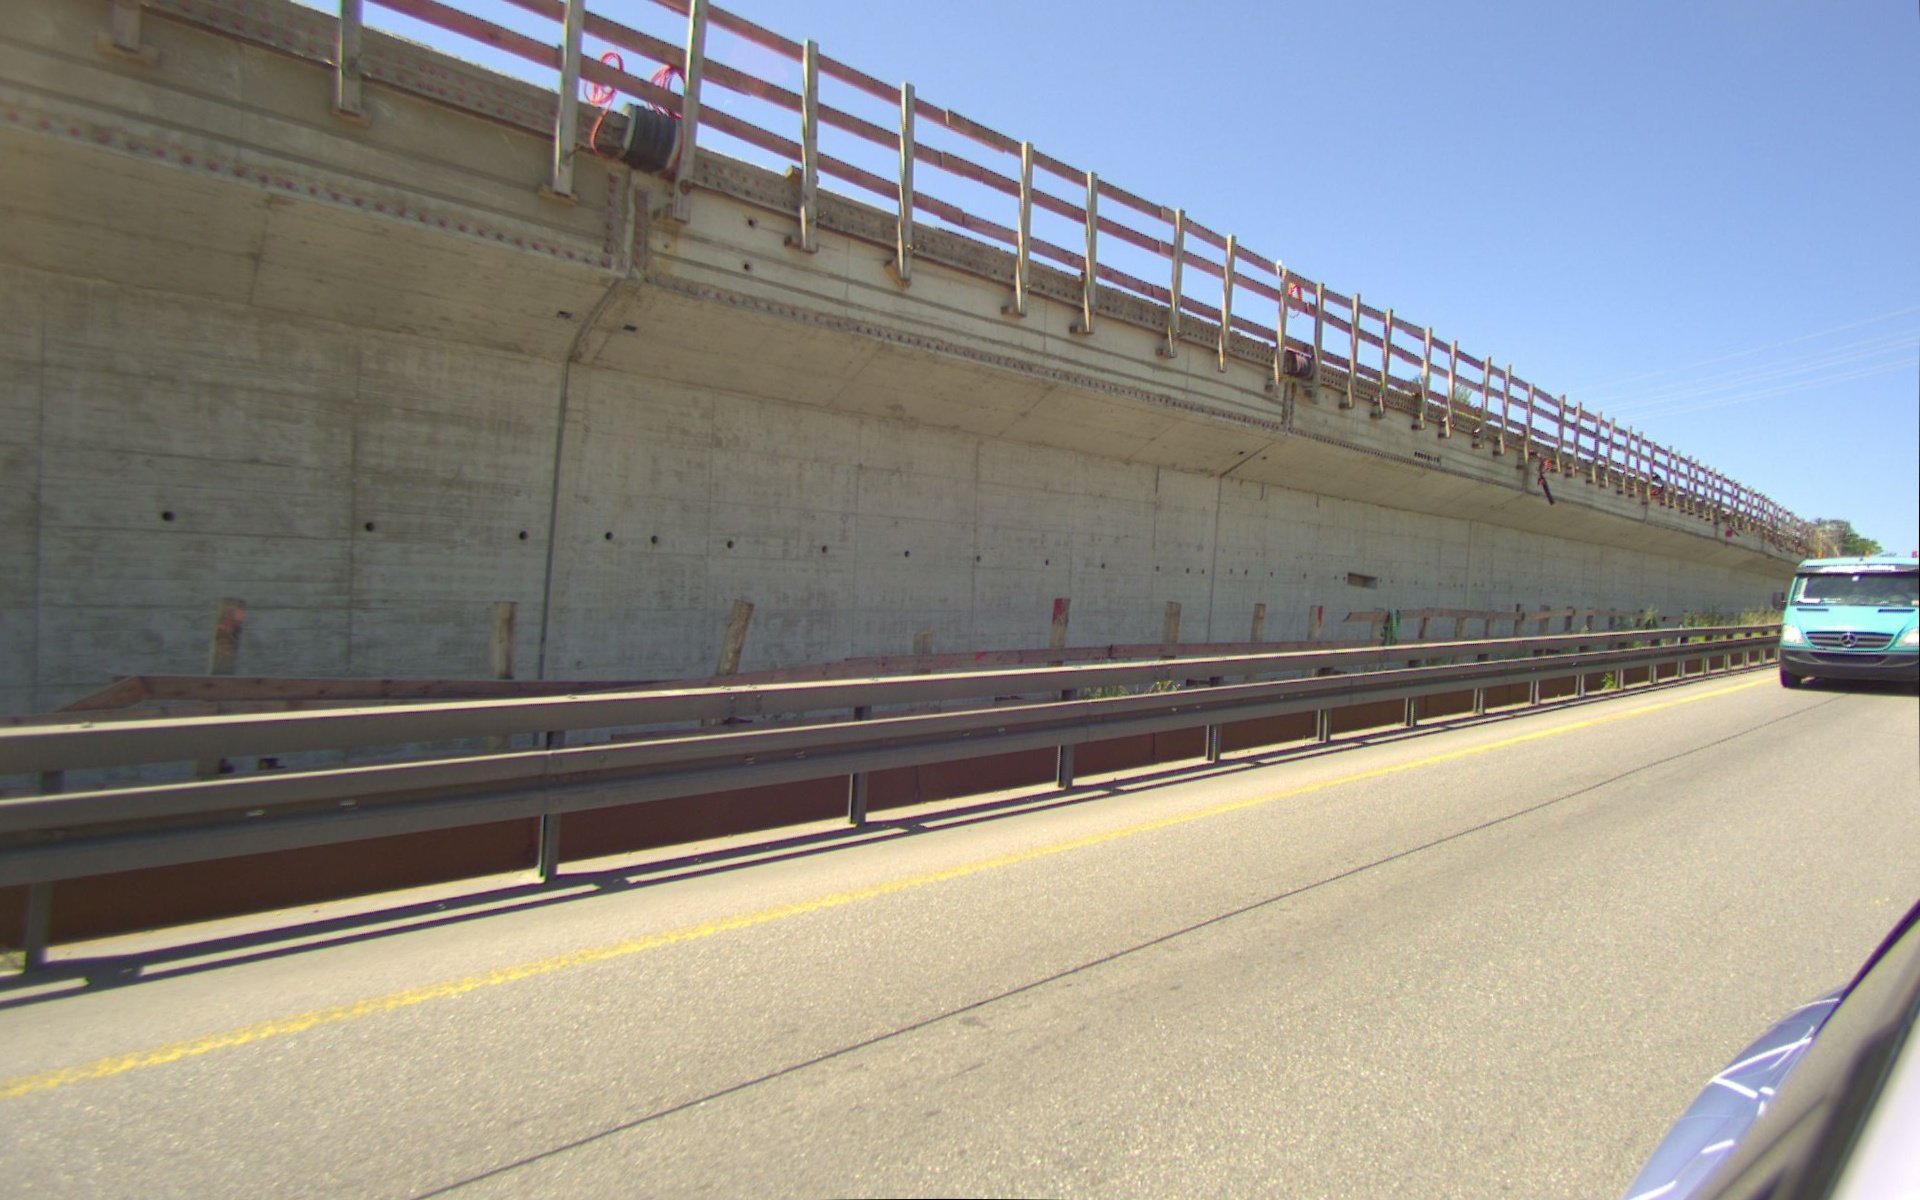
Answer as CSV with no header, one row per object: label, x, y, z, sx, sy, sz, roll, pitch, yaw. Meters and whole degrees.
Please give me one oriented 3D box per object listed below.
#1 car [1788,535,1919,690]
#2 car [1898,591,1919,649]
car,17.133,0.178,18.595,7.087,2.411,1.966,0,1,-42
car,29.710,0.568,30.521,3.933,1.681,1.856,-1,0,-44
